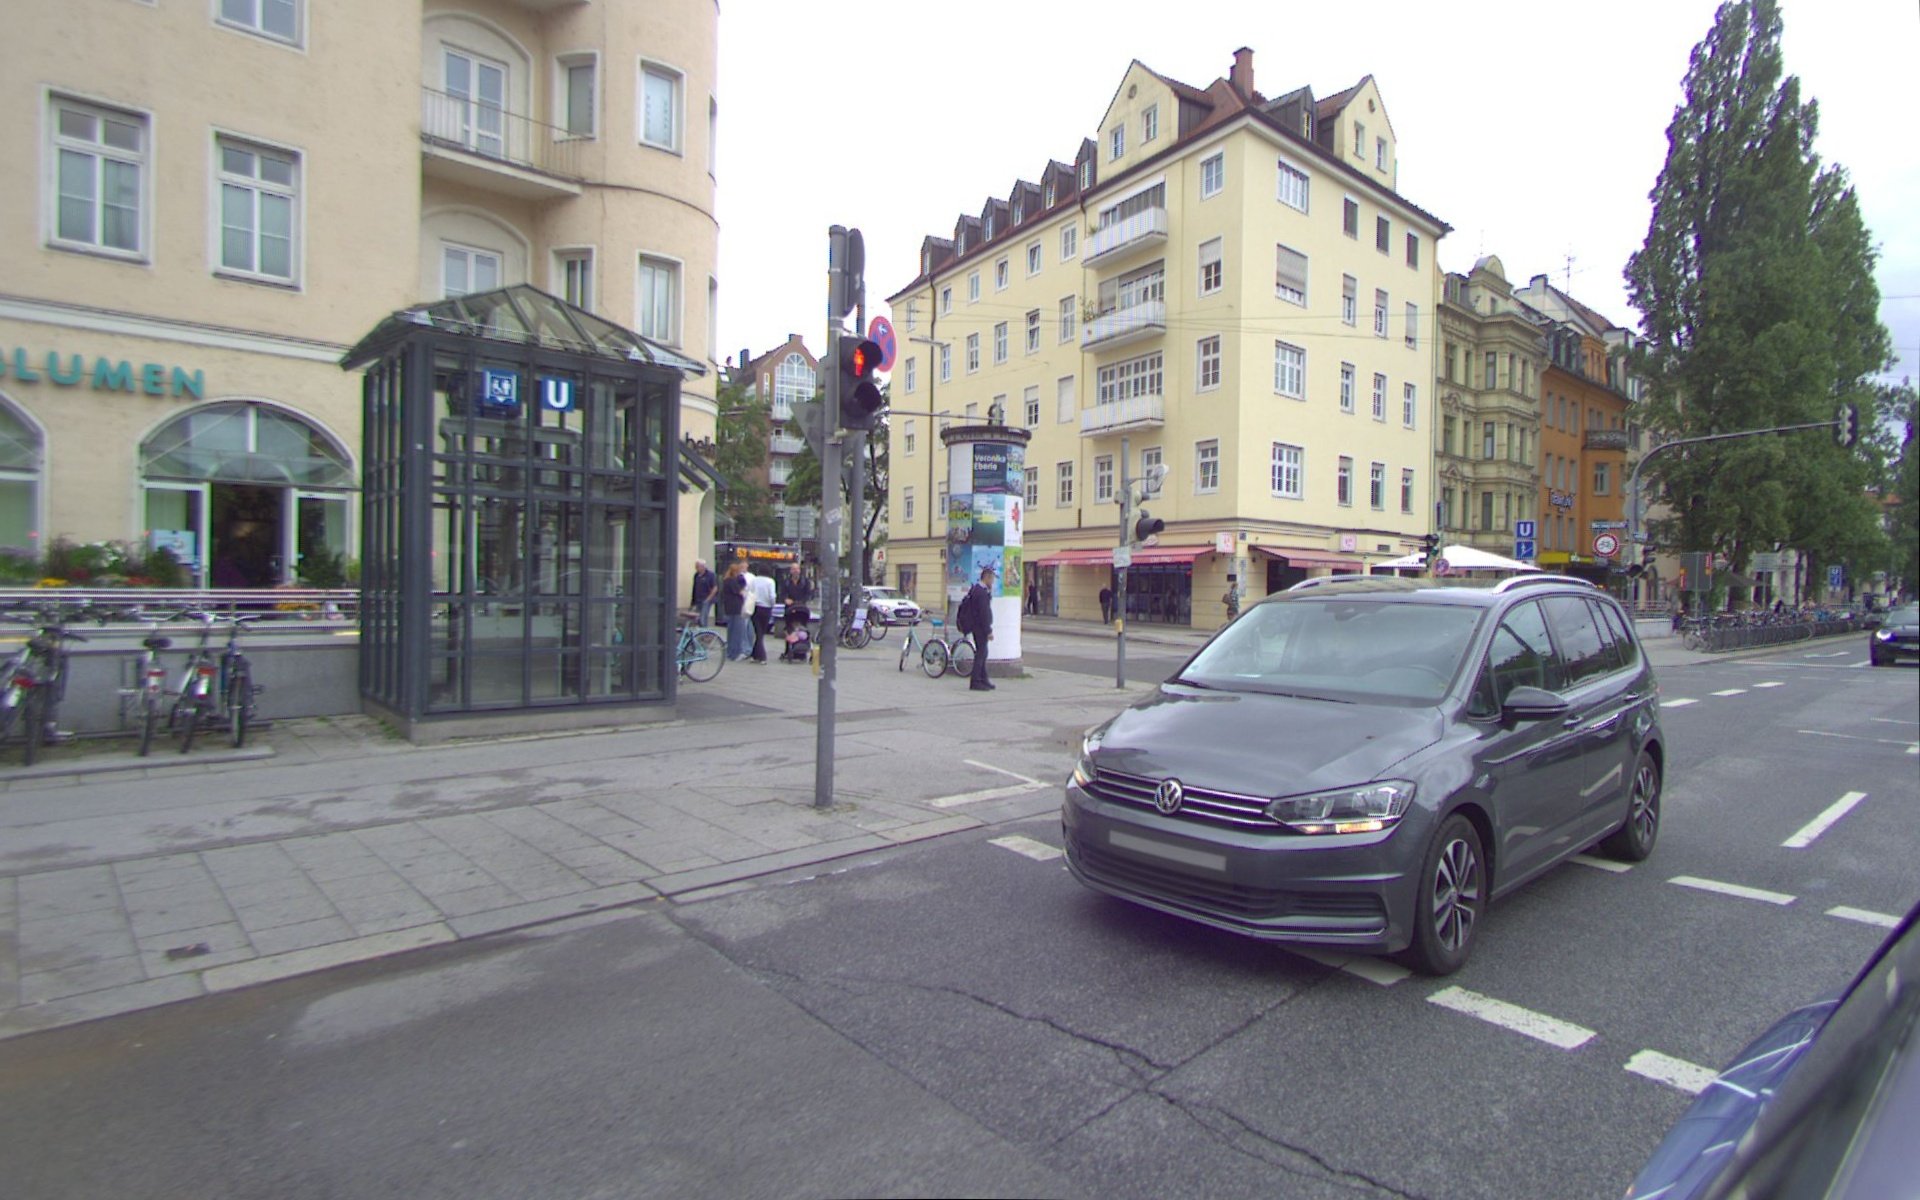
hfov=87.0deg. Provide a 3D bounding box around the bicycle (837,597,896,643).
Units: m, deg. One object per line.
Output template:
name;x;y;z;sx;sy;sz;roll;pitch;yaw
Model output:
bicycle;-2.287;0.480;24.582;1.574;1.046;0.353;2;1;36

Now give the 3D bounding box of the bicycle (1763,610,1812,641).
bicycle;30.635;0.933;37.490;0.341;1.008;1.841;1;2;2

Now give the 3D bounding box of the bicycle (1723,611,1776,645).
bicycle;26.027;0.917;33.403;0.341;1.008;1.842;1;2;2

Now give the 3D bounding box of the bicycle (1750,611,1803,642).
bicycle;29.550;0.929;36.647;0.341;1.008;1.843;1;2;-2

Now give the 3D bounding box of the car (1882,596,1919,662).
car;24.504;0.705;25.271;3.902;1.522;1.778;-1;2;-42

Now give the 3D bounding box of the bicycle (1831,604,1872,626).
bicycle;42.433;0.709;48.189;0.368;1.008;1.840;1;-1;4

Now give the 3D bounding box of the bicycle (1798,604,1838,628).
bicycle;36.916;0.670;43.542;0.319;1.008;1.838;1;-1;6

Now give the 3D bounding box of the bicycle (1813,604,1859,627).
bicycle;39.358;0.698;45.473;0.368;1.008;1.843;2;-1;-4

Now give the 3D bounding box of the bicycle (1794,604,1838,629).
bicycle;35.720;0.664;42.255;0.319;1.008;1.841;1;-1;1

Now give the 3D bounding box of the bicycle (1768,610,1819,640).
bicycle;31.600;0.937;38.409;0.341;1.008;1.843;1;2;-1

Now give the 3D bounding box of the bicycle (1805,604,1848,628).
bicycle;37.307;0.669;43.605;0.319;1.008;1.841;1;-1;1

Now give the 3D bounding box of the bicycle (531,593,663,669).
bicycle;-5.417;0.442;15.193;0.494;1.072;1.836;2;1;44

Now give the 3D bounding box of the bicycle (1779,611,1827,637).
bicycle;33.585;0.945;40.331;0.319;1.008;1.842;1;-1;-1

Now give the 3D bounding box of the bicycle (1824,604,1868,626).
bicycle;41.368;0.705;47.272;0.368;1.008;1.843;1;-1;-3

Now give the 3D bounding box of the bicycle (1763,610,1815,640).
bicycle;31.096;0.936;37.993;0.341;1.008;1.843;1;2;-1

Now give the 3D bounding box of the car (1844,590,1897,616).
car;54.044;0.168;60.049;4.453;1.458;1.996;0;1;-44

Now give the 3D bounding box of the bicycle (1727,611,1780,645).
bicycle;26.546;0.918;33.880;0.341;1.008;1.842;1;2;2

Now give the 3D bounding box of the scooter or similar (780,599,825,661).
scooter or similar;-2.732;0.517;17.517;0.581;1.007;0.824;4;-1;-18

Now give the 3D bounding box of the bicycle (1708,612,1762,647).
bicycle;24.507;0.911;32.044;0.341;1.008;1.841;1;2;3

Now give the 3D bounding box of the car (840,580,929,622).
car;-2.918;0.008;38.444;1.856;1.440;4.006;1;1;-29

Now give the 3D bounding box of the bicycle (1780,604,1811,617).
bicycle;57.080;0.719;69.157;0.385;0.845;1.573;0;0;-43

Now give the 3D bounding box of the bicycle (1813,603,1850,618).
bicycle;58.523;0.701;67.942;0.385;0.928;1.837;0;0;-39

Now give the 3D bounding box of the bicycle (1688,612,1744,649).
bicycle;22.842;0.903;30.613;0.341;1.008;1.841;1;2;3

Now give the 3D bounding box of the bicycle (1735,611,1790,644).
bicycle;27.536;0.922;34.768;0.341;1.008;1.843;1;2;-2

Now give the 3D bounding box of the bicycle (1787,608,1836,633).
bicycle;34.475;0.823;41.005;0.319;1.008;1.843;2;-1;-5

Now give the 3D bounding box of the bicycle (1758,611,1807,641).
bicycle;30.090;0.932;37.043;0.341;1.008;1.841;1;2;2

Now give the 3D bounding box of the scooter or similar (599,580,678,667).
scooter or similar;-4.760;0.332;15.022;0.287;1.242;1.138;2;1;39

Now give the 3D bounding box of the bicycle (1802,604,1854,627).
bicycle;38.689;0.693;45.116;0.367;1.008;1.846;2;-1;-17

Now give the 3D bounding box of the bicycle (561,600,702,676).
bicycle;-4.576;0.506;14.189;1.834;0.987;0.495;0;1;-41

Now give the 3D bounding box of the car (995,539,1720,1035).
car;2.497;0.621;5.599;4.625;1.667;1.775;1;1;-41

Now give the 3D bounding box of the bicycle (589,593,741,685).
bicycle;-3.847;0.482;13.302;1.834;1.121;0.567;1;1;-41

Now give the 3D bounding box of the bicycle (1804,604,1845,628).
bicycle;36.607;0.665;42.871;0.319;1.008;1.839;1;-1;5

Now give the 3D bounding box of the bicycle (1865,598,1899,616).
bicycle;58.665;0.443;64.403;0.352;1.116;1.747;1;1;-6

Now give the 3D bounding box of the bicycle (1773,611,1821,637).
bicycle;33.088;0.945;40.041;0.319;1.008;1.842;1;-1;-1

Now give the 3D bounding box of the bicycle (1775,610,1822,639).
bicycle;32.197;0.939;38.882;0.319;1.008;1.841;1;1;3

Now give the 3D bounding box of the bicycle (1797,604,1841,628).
bicycle;36.211;0.665;42.666;0.319;1.008;1.841;1;-1;1

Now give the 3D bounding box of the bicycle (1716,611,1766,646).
bicycle;25.537;0.916;33.118;0.342;1.008;1.840;1;2;5

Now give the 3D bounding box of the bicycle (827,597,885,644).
bicycle;-2.462;0.474;23.890;1.574;1.046;0.245;2;1;36

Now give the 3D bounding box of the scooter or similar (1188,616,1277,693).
scooter or similar;4.212;0.816;15.600;1.235;1.088;0.776;0;1;-43

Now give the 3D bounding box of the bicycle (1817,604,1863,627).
bicycle;40.340;0.702;46.417;0.368;1.008;1.843;2;-1;-4

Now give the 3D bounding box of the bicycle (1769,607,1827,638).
bicycle;32.631;0.872;39.438;0.457;1.126;1.845;2;1;-9

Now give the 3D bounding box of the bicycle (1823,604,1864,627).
bicycle;40.907;0.704;46.868;0.368;1.008;1.840;1;-1;3

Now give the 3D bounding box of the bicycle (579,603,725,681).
bicycle;-4.135;0.540;13.672;1.834;0.987;0.495;0;1;-41

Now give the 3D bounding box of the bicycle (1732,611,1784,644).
bicycle;27.035;0.920;34.315;0.341;1.008;1.842;1;2;2

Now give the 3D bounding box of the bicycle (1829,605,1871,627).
bicycle;41.907;0.735;47.670;0.368;1.008;1.841;1;-1;0

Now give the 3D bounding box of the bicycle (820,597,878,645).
bicycle;-2.596;0.473;23.662;1.574;1.046;0.245;2;1;36

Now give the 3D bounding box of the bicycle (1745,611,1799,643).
bicycle;28.540;0.925;35.616;0.341;1.008;1.843;1;2;-2

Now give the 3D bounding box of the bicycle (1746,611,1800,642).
bicycle;29.070;0.928;36.218;0.341;1.008;1.843;1;2;-2

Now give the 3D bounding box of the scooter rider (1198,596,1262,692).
scooter rider;4.139;0.654;15.521;0.632;1.406;0.701;1;1;-43
